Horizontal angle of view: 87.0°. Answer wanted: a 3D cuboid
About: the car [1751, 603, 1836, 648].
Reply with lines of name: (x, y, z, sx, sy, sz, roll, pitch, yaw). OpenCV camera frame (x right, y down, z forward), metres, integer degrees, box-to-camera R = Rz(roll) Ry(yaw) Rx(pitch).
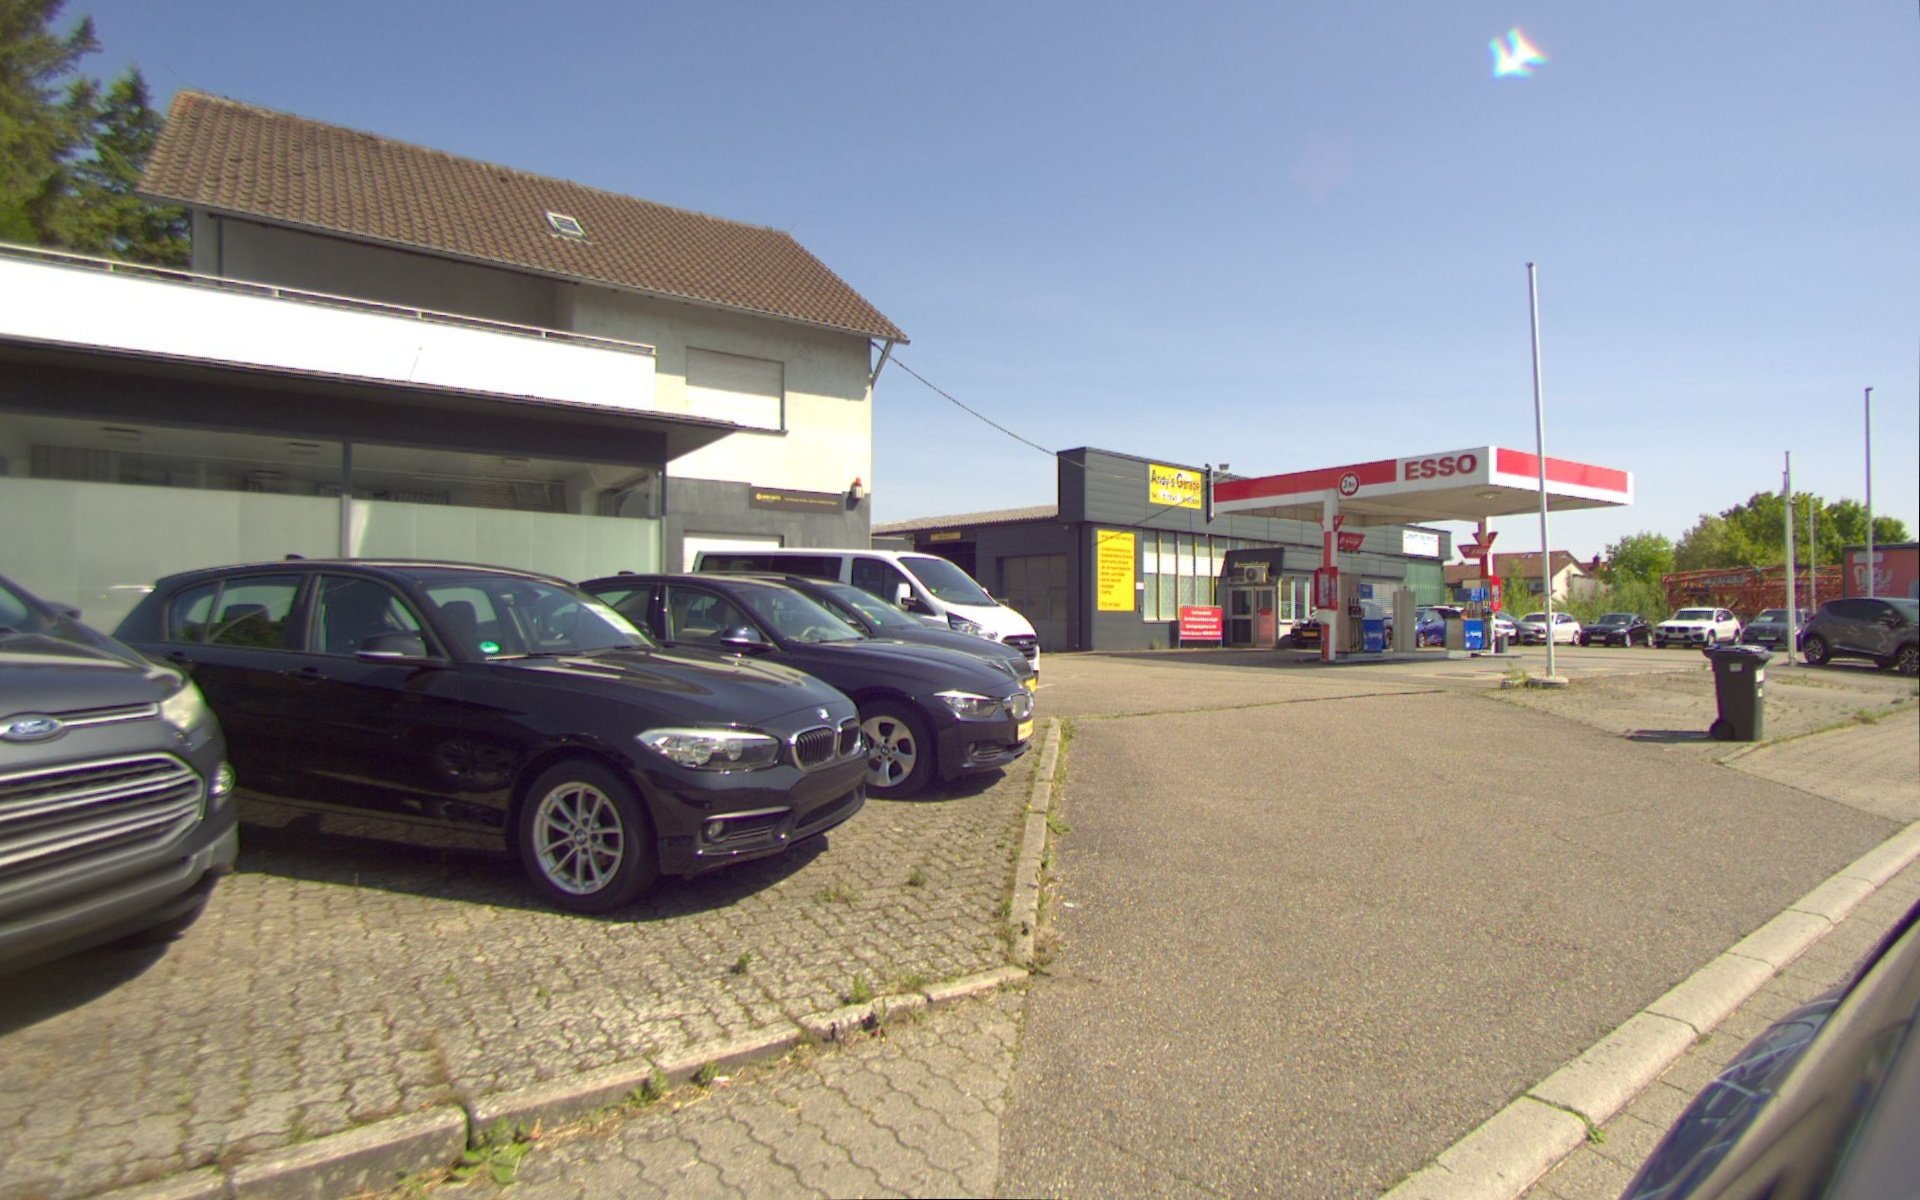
car: (31.764, 0.936, 38.549, 4.033, 1.612, 1.844, 0, 0, -40)

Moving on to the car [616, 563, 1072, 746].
car: (-1.163, 0.445, 10.441, 4.265, 1.570, 1.970, 1, 0, 21)

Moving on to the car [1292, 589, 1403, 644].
car: (13.504, 0.624, 35.113, 4.738, 1.764, 1.805, 3, -3, -44)

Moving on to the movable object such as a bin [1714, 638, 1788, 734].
movable object such as a bin: (8.399, 0.894, 10.745, 0.506, 0.951, 0.558, 1, -1, -44)

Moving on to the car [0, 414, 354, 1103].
car: (-4.247, 0.357, 3.126, 4.057, 1.674, 1.821, 1, 0, 17)

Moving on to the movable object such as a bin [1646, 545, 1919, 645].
movable object such as a bin: (39.387, -0.197, 43.922, 2.720, 4.069, 16.106, 1, 0, -34)

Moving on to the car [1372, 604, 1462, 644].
car: (17.828, 0.910, 39.396, 4.058, 1.450, 1.794, 0, 0, -43)

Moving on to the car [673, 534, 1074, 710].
car: (-1.273, 0.227, 14.045, 5.242, 2.039, 2.208, 1, 0, 30)

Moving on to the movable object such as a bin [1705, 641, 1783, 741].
movable object such as a bin: (7.933, 0.903, 10.246, 0.506, 0.948, 0.558, 1, -1, -44)

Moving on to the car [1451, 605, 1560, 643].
car: (23.044, 0.998, 42.848, 1.778, 1.493, 3.687, 1, 0, -38)

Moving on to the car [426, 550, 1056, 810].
car: (-1.450, 0.516, 7.554, 4.171, 1.586, 1.978, 0, -2, 11)

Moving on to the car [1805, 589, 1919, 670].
car: (20.195, 0.616, 21.115, 1.743, 1.574, 4.178, 2, 2, 4)

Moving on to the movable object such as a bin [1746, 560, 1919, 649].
movable object such as a bin: (46.704, 0.235, 49.153, 2.808, 4.218, 13.298, 1, 0, -34)

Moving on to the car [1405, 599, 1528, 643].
car: (20.658, 0.815, 41.380, 1.778, 1.655, 4.151, 1, 0, -38)

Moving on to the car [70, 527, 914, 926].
car: (-2.327, 0.439, 5.193, 3.824, 1.465, 1.740, 1, 0, 20)

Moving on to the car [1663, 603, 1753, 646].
car: (30.100, 0.952, 40.685, 4.262, 1.612, 2.002, 0, 0, -40)

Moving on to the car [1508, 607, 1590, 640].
car: (26.210, 1.016, 44.981, 4.299, 1.404, 1.844, 0, 0, -40)

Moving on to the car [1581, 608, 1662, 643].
car: (27.941, 1.040, 42.682, 3.929, 1.404, 1.844, 0, 0, -40)
